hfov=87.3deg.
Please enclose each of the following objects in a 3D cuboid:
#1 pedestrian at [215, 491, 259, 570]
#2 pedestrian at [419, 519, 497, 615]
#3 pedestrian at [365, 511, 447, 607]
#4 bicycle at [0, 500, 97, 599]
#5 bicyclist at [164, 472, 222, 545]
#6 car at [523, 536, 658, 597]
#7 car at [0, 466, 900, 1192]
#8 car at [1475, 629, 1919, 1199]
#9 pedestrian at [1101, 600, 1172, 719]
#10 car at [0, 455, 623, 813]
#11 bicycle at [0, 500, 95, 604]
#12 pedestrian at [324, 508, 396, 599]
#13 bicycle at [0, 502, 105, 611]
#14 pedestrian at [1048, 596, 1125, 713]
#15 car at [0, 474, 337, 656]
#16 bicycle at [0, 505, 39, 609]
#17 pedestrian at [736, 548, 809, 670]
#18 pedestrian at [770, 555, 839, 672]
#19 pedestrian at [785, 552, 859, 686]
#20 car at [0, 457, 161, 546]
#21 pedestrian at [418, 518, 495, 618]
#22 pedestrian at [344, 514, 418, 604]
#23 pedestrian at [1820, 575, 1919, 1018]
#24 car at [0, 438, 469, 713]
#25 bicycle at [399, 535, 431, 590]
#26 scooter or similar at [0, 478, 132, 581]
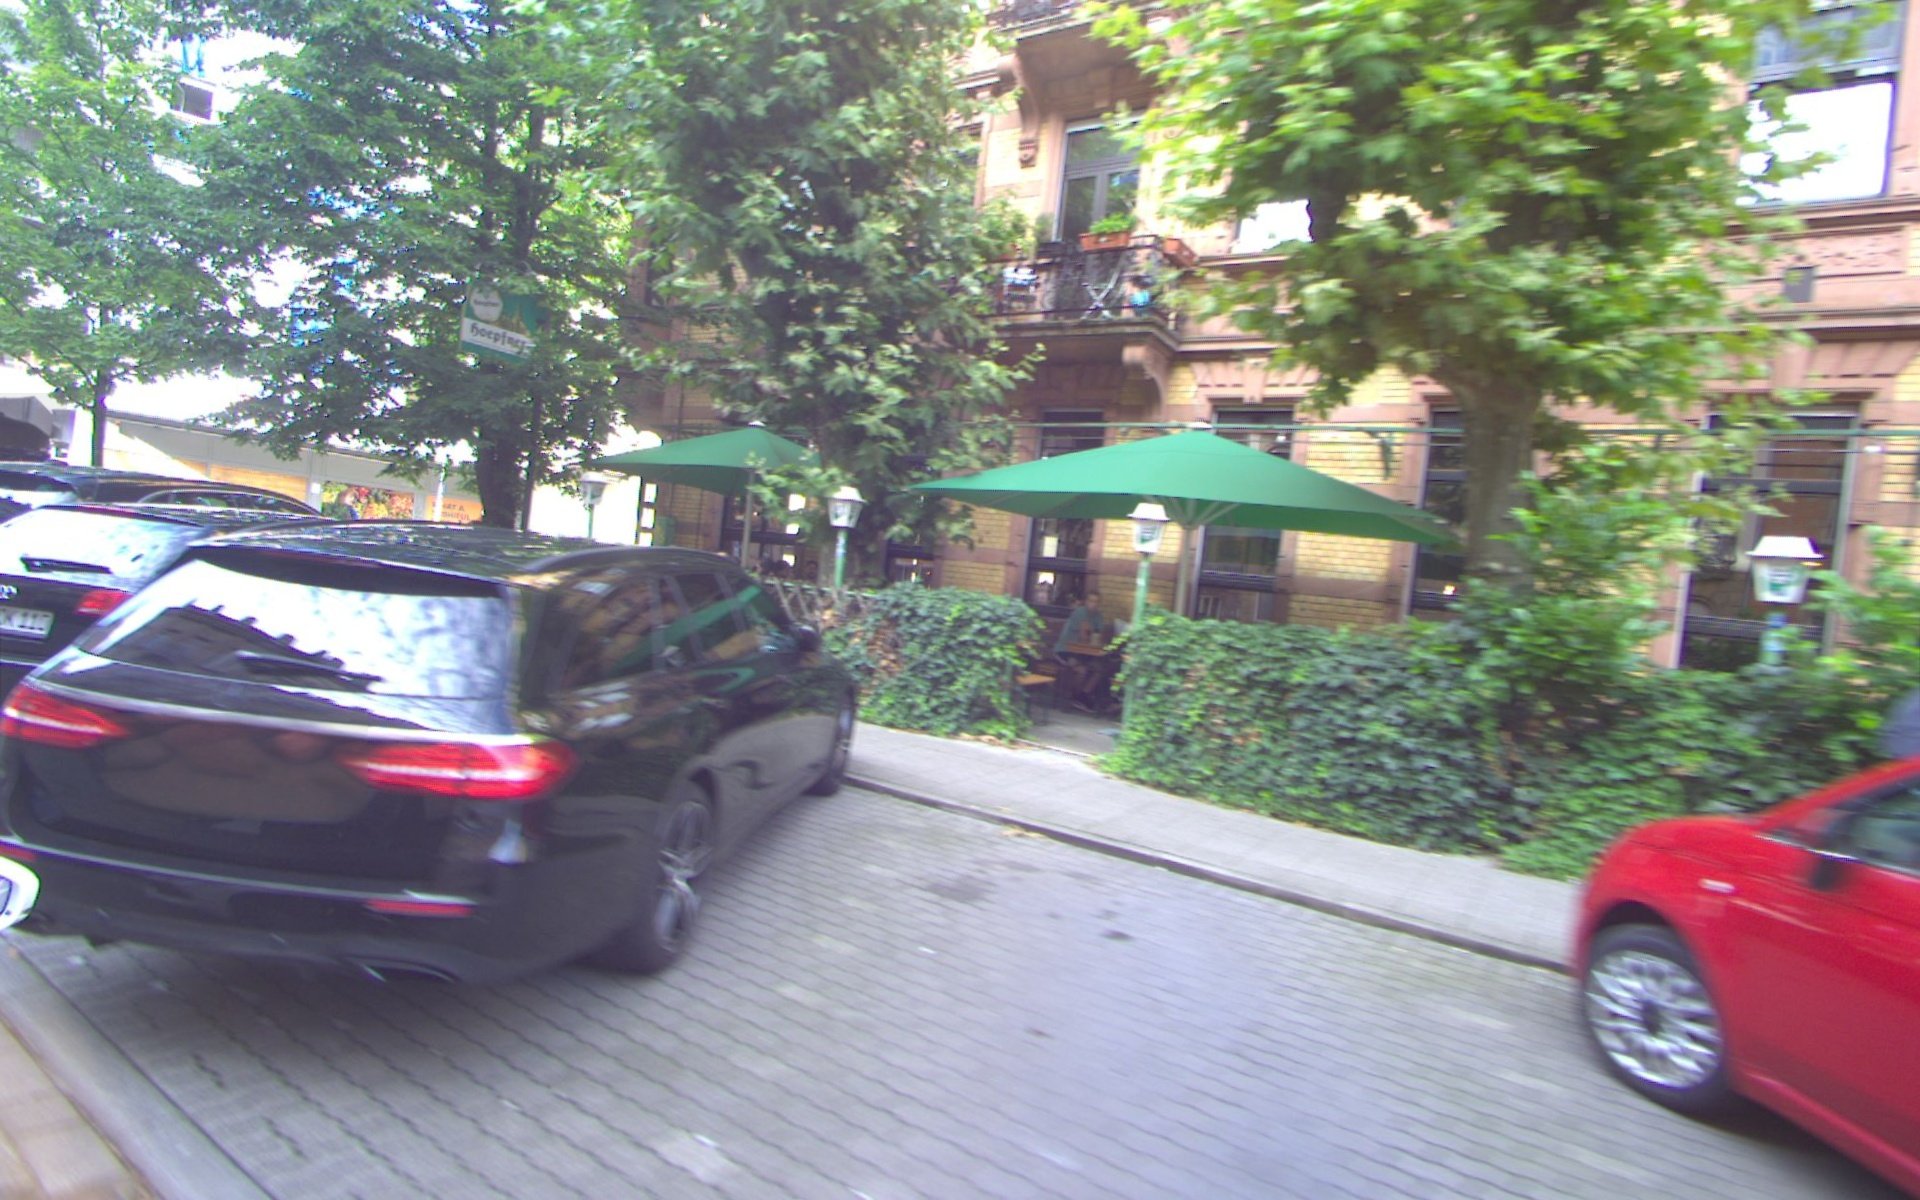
[{"bbox_3d":[-17.120,-1.646,23.818,0.627,1.761,0.766,5,2,-44],"label":"pedestrian"},{"bbox_3d":[-7.798,-0.511,15.638,0.745,1.375,0.673,7,2,29],"label":"pedestrian"},{"bbox_3d":[-8.914,-0.654,16.196,0.691,1.424,0.798,7,1,29],"label":"pedestrian"},{"bbox_3d":[-11.222,-0.636,11.831,1.884,1.055,0.389,6,4,4],"label":"bicycle"},{"bbox_3d":[-19.487,-2.318,25.579,1.007,1.690,0.934,6,2,-35],"label":"bicyclist"},{"bbox_3d":[-12.477,-1.117,33.954,3.929,1.529,1.998,7,1,26],"label":"car"},{"bbox_3d":[-1.735,0.429,4.715,2.018,1.476,4.765,8,2,5],"label":"car"},{"bbox_3d":[3.237,1.039,2.420,1.710,1.504,3.713,7,2,-5],"label":"car"},{"bbox_3d":[1.968,0.645,11.198,0.553,1.236,0.465,7,4,24],"label":"pedestrian"},{"bbox_3d":[-4.250,0.097,6.616,1.906,1.475,4.416,7,0,9],"label":"car"},{"bbox_3d":[-10.870,-0.591,11.371,1.870,1.055,0.444,6,4,4],"label":"bicycle"},{"bbox_3d":[-10.010,-0.765,16.785,0.539,1.410,0.757,7,1,29],"label":"pedestrian"},{"bbox_3d":[-10.293,-0.506,10.942,1.821,1.055,0.347,6,4,6],"label":"bicycle"},{"bbox_3d":[1.454,0.608,11.523,0.638,1.236,0.487,7,4,25],"label":"pedestrian"},{"bbox_3d":[-8.420,-0.363,9.905,1.736,1.475,3.945,7,0,5],"label":"car"},{"bbox_3d":[-10.853,-0.543,10.681,1.979,1.055,0.347,6,4,6],"label":"bicycle"},{"bbox_3d":[-2.572,0.133,13.820,0.560,1.590,0.629,8,2,29],"label":"pedestrian"},{"bbox_3d":[-2.228,0.204,14.431,0.560,1.590,0.629,8,2,29],"label":"pedestrian"},{"bbox_3d":[-1.808,0.244,13.239,0.554,1.665,0.646,7,4,29],"label":"pedestrian"},{"bbox_3d":[-22.645,-2.488,24.279,4.765,1.747,2.036,7,3,-11],"label":"car"},{"bbox_3d":[-7.425,-0.458,14.849,0.618,1.368,0.670,7,2,29],"label":"pedestrian"},{"bbox_3d":[-9.505,-0.660,16.522,0.586,1.359,0.757,7,1,29],"label":"pedestrian"},{"bbox_3d":[4.566,0.898,4.597,0.712,1.902,0.839,8,2,37],"label":"pedestrian"},{"bbox_3d":[-6.314,-0.297,8.378,1.787,1.667,4.351,7,3,7],"label":"car"},{"bbox_3d":[-12.528,-0.836,23.146,0.424,1.170,1.986,6,-1,-25],"label":"bicycle"},{"bbox_3d":[-12.754,-0.993,14.392,1.236,1.290,0.659,6,1,-33],"label":"scooter or similar"}]
